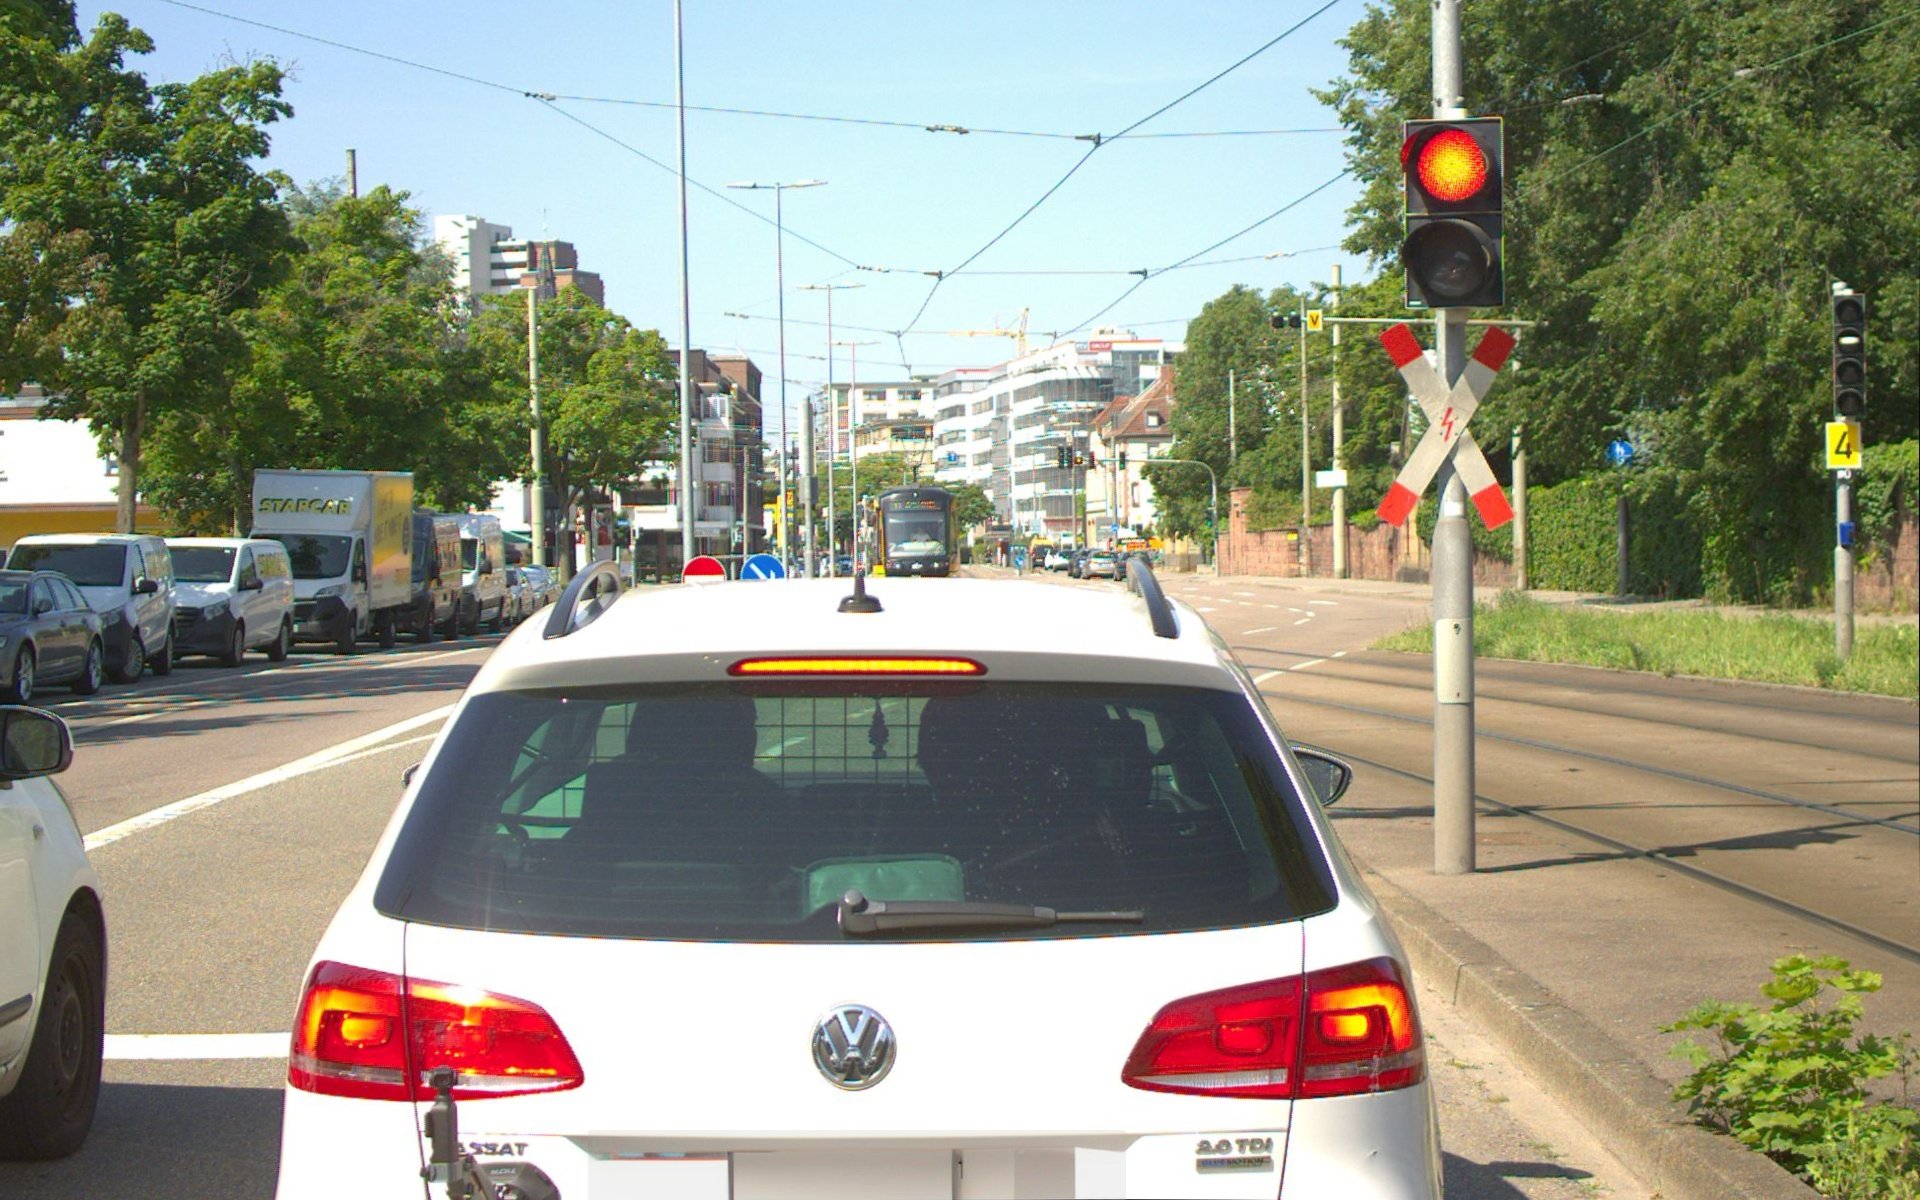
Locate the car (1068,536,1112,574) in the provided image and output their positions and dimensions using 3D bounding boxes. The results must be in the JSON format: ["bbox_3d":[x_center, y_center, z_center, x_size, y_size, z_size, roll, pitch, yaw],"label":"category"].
[{"bbox_3d":[6.501,-2.269,172.621,1.863,1.861,5.062,1,1,-1],"label":"car"}]

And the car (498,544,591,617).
[{"bbox_3d":[-11.042,-0.549,91.684,1.863,1.861,5.414,1,1,-1],"label":"car"}]

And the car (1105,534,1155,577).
[{"bbox_3d":[7.745,-2.049,156.674,1.863,1.861,5.062,1,1,-1],"label":"car"}]

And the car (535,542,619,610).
[{"bbox_3d":[-10.963,-0.710,98.599,1.863,1.861,5.414,1,1,-1],"label":"car"}]

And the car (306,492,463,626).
[{"bbox_3d":[-11.375,-0.828,68.317,2.123,2.508,5.733,1,1,0],"label":"car"}]

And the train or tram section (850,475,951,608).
[{"bbox_3d":[-1.830,-1.829,106.936,2.870,3.842,12.392,-1,1,-1],"label":"train or tram section"}]

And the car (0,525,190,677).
[{"bbox_3d":[-11.418,-0.043,45.317,1.863,1.861,5.075,1,1,-6],"label":"car"}]

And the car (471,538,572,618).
[{"bbox_3d":[-10.789,-0.580,84.868,1.863,1.861,5.414,1,1,-1],"label":"car"}]

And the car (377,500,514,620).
[{"bbox_3d":[-11.282,-0.900,75.753,2.123,2.508,5.733,1,1,0],"label":"car"}]

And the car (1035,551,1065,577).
[{"bbox_3d":[6.434,-2.600,247.341,1.863,1.861,5.062,1,1,-1],"label":"car"}]

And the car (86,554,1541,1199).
[{"bbox_3d":[-0.191,0.664,6.218,1.762,1.425,4.000,-1,1,-1],"label":"car"}]

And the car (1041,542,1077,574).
[{"bbox_3d":[5.897,-2.524,205.122,1.863,1.861,5.062,1,1,-1],"label":"car"}]

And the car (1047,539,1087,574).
[{"bbox_3d":[5.864,-2.402,188.597,1.863,1.861,5.062,1,1,-1],"label":"car"}]

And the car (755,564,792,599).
[{"bbox_3d":[-10.194,-1.017,187.999,1.762,1.889,4.914,1,1,-1],"label":"car"}]

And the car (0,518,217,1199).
[{"bbox_3d":[-2.931,0.597,7.377,1.662,1.542,4.547,0,1,0],"label":"car"}]

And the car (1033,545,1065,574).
[{"bbox_3d":[5.855,-2.689,227.121,1.863,1.861,5.062,1,1,-1],"label":"car"}]

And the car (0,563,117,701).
[{"bbox_3d":[-10.943,0.315,38.781,1.863,1.411,4.280,1,1,-1],"label":"car"}]

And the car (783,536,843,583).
[{"bbox_3d":[-4.796,-1.337,112.640,1.705,1.468,4.589,-2,1,1],"label":"car"}]

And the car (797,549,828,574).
[{"bbox_3d":[-9.104,-2.388,211.925,1.705,1.468,4.590,-1,1,-4],"label":"car"}]

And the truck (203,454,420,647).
[{"bbox_3d":[-11.270,-0.886,60.315,2.421,3.139,6.997,1,1,0],"label":"truck"}]

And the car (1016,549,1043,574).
[{"bbox_3d":[5.297,-2.949,262.540,1.863,1.861,5.062,1,1,-1],"label":"car"}]

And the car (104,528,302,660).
[{"bbox_3d":[-11.350,-0.139,51.902,1.863,1.861,5.414,1,1,-1],"label":"car"}]
